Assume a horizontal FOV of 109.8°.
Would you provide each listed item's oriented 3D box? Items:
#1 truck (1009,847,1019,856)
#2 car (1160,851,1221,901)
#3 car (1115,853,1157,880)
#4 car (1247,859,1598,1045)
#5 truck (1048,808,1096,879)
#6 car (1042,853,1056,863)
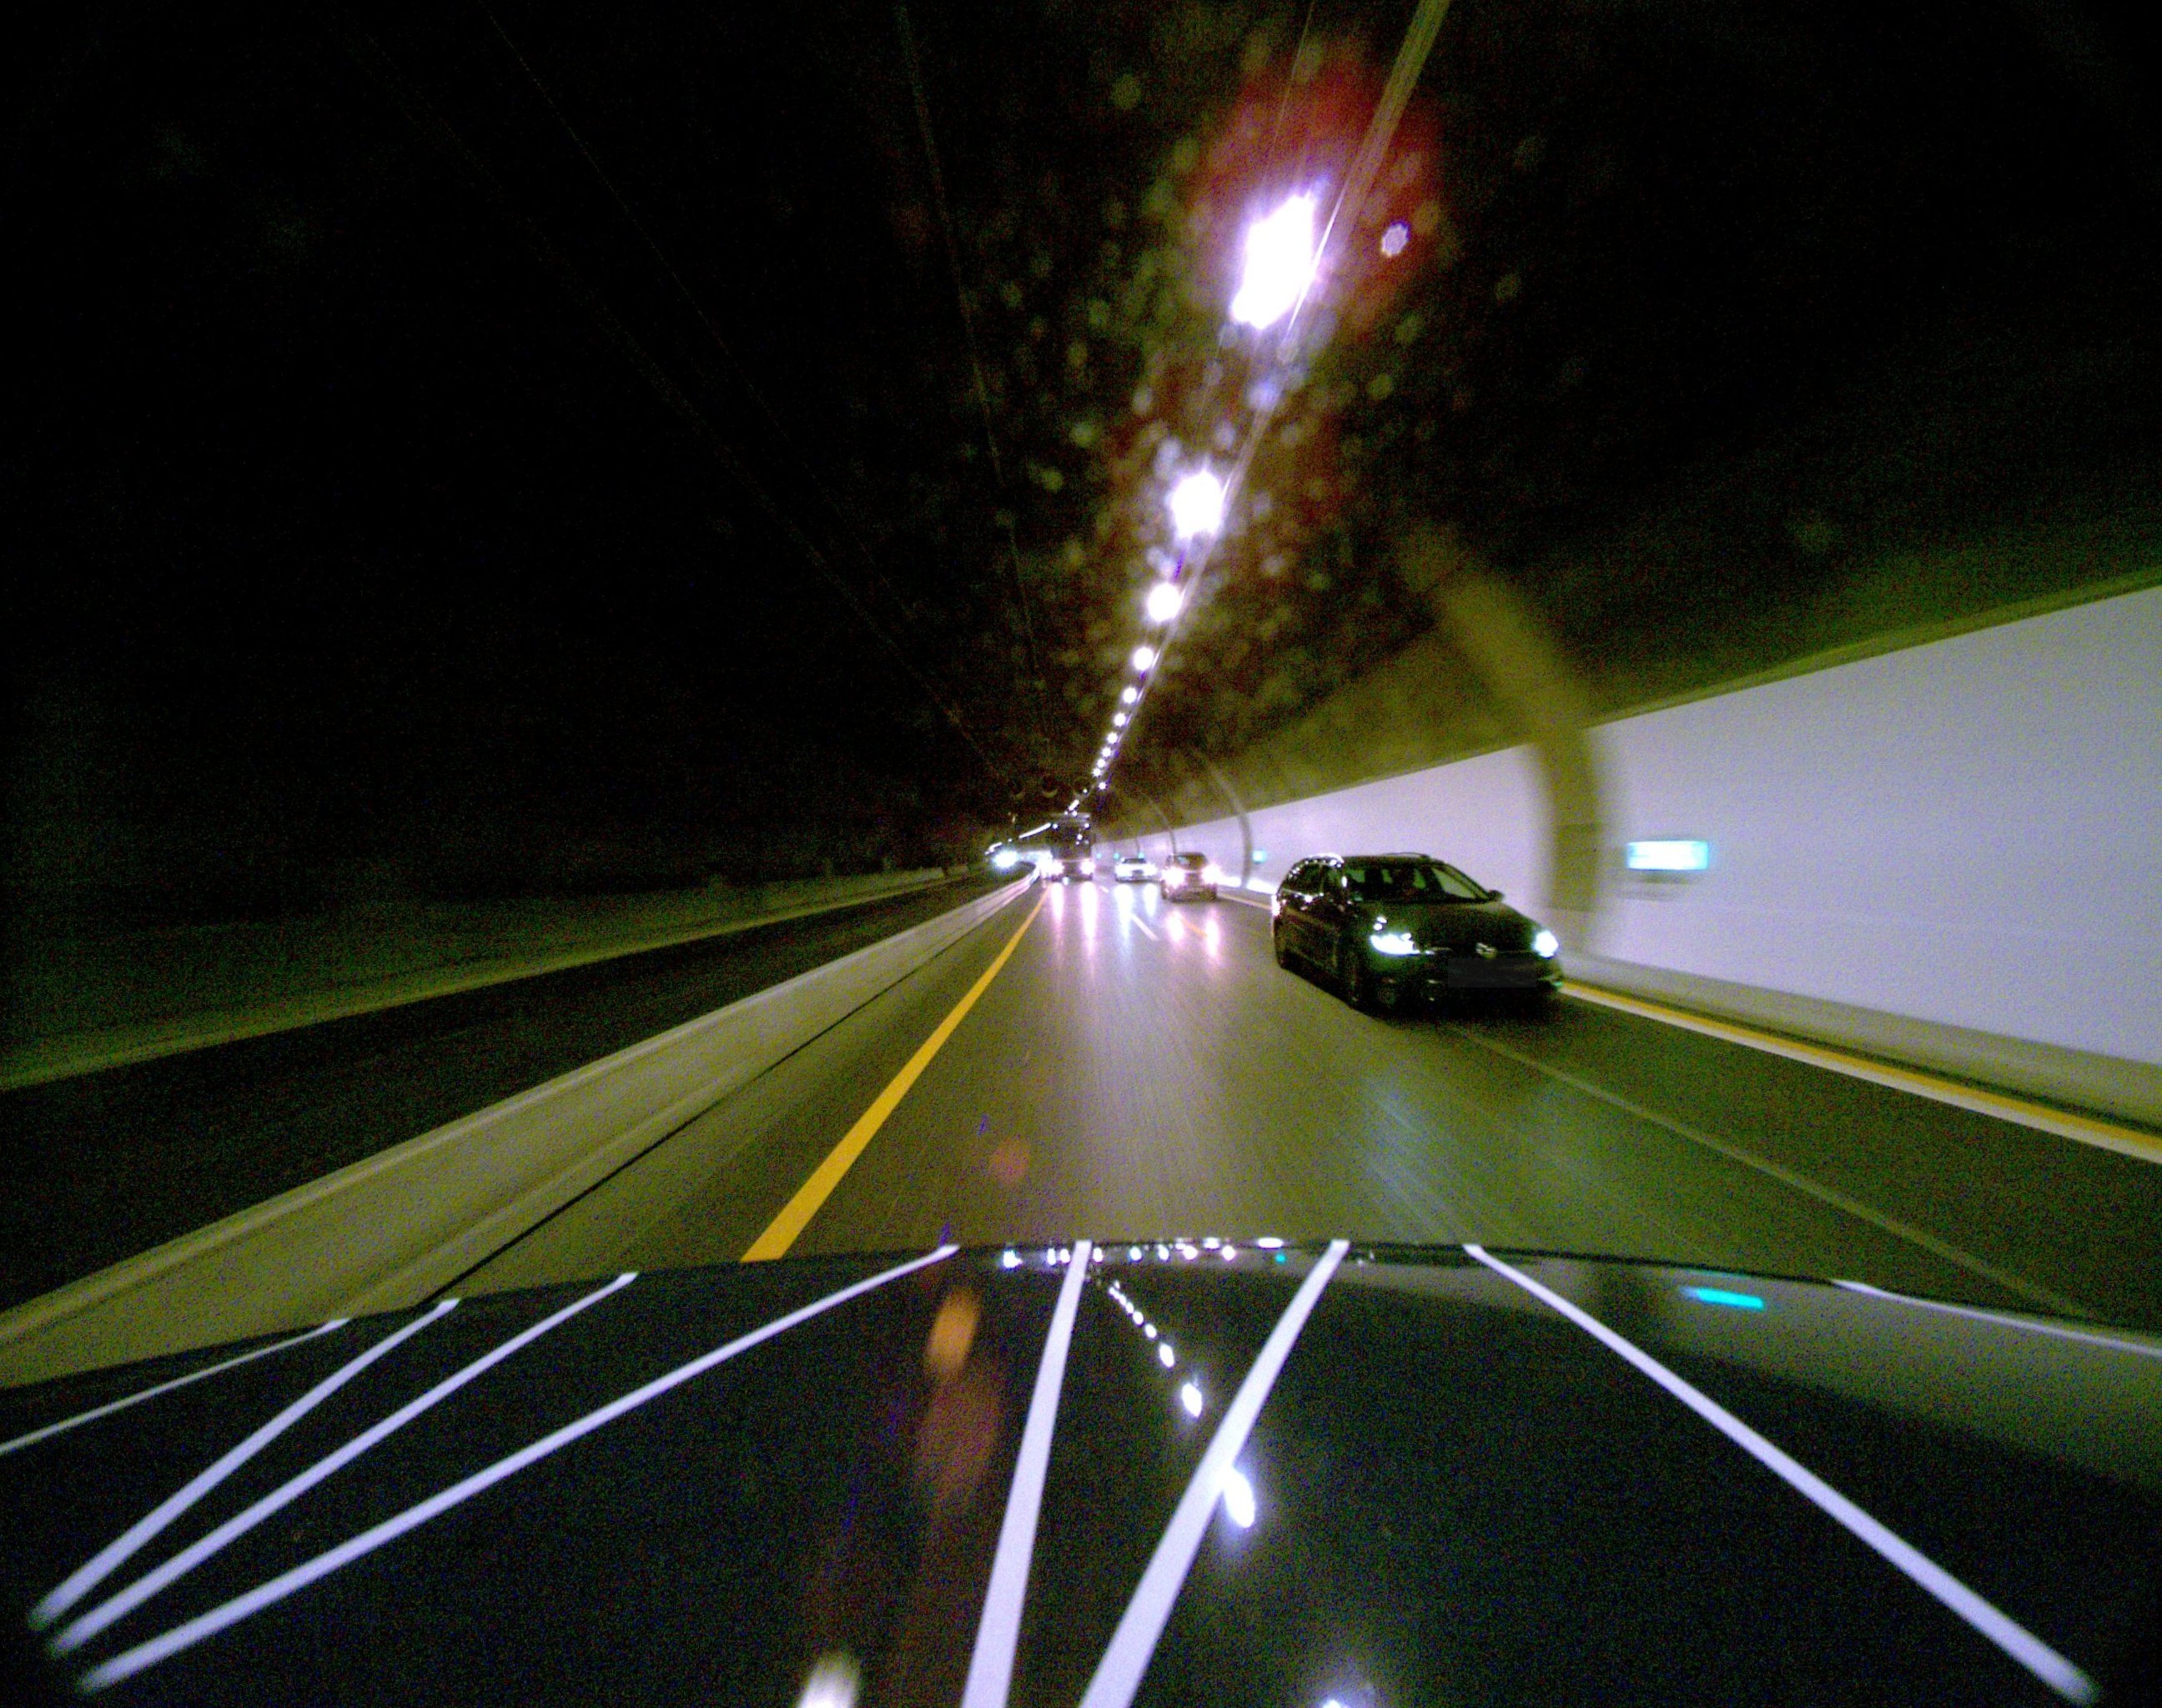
[{"bbox_3d":[-21.306,-0.905,241.508,2.611,2.723,6.393,-2,0,-7],"label":"truck"},{"bbox_3d":[3.503,0.679,24.687,1.531,1.508,2.651,-1,0,-1],"label":"car"},{"bbox_3d":[3.018,0.666,42.312,1.909,1.412,4.060,-1,0,-2],"label":"car"},{"bbox_3d":[3.331,0.819,8.659,1.782,1.430,4.882,-2,0,0],"label":"car"},{"bbox_3d":[-0.550,-0.617,48.761,2.742,4.127,8.099,-1,0,0],"label":"truck"},{"bbox_3d":[-4.778,0.567,114.561,1.999,1.524,3.998,-2,0,-3],"label":"car"}]
